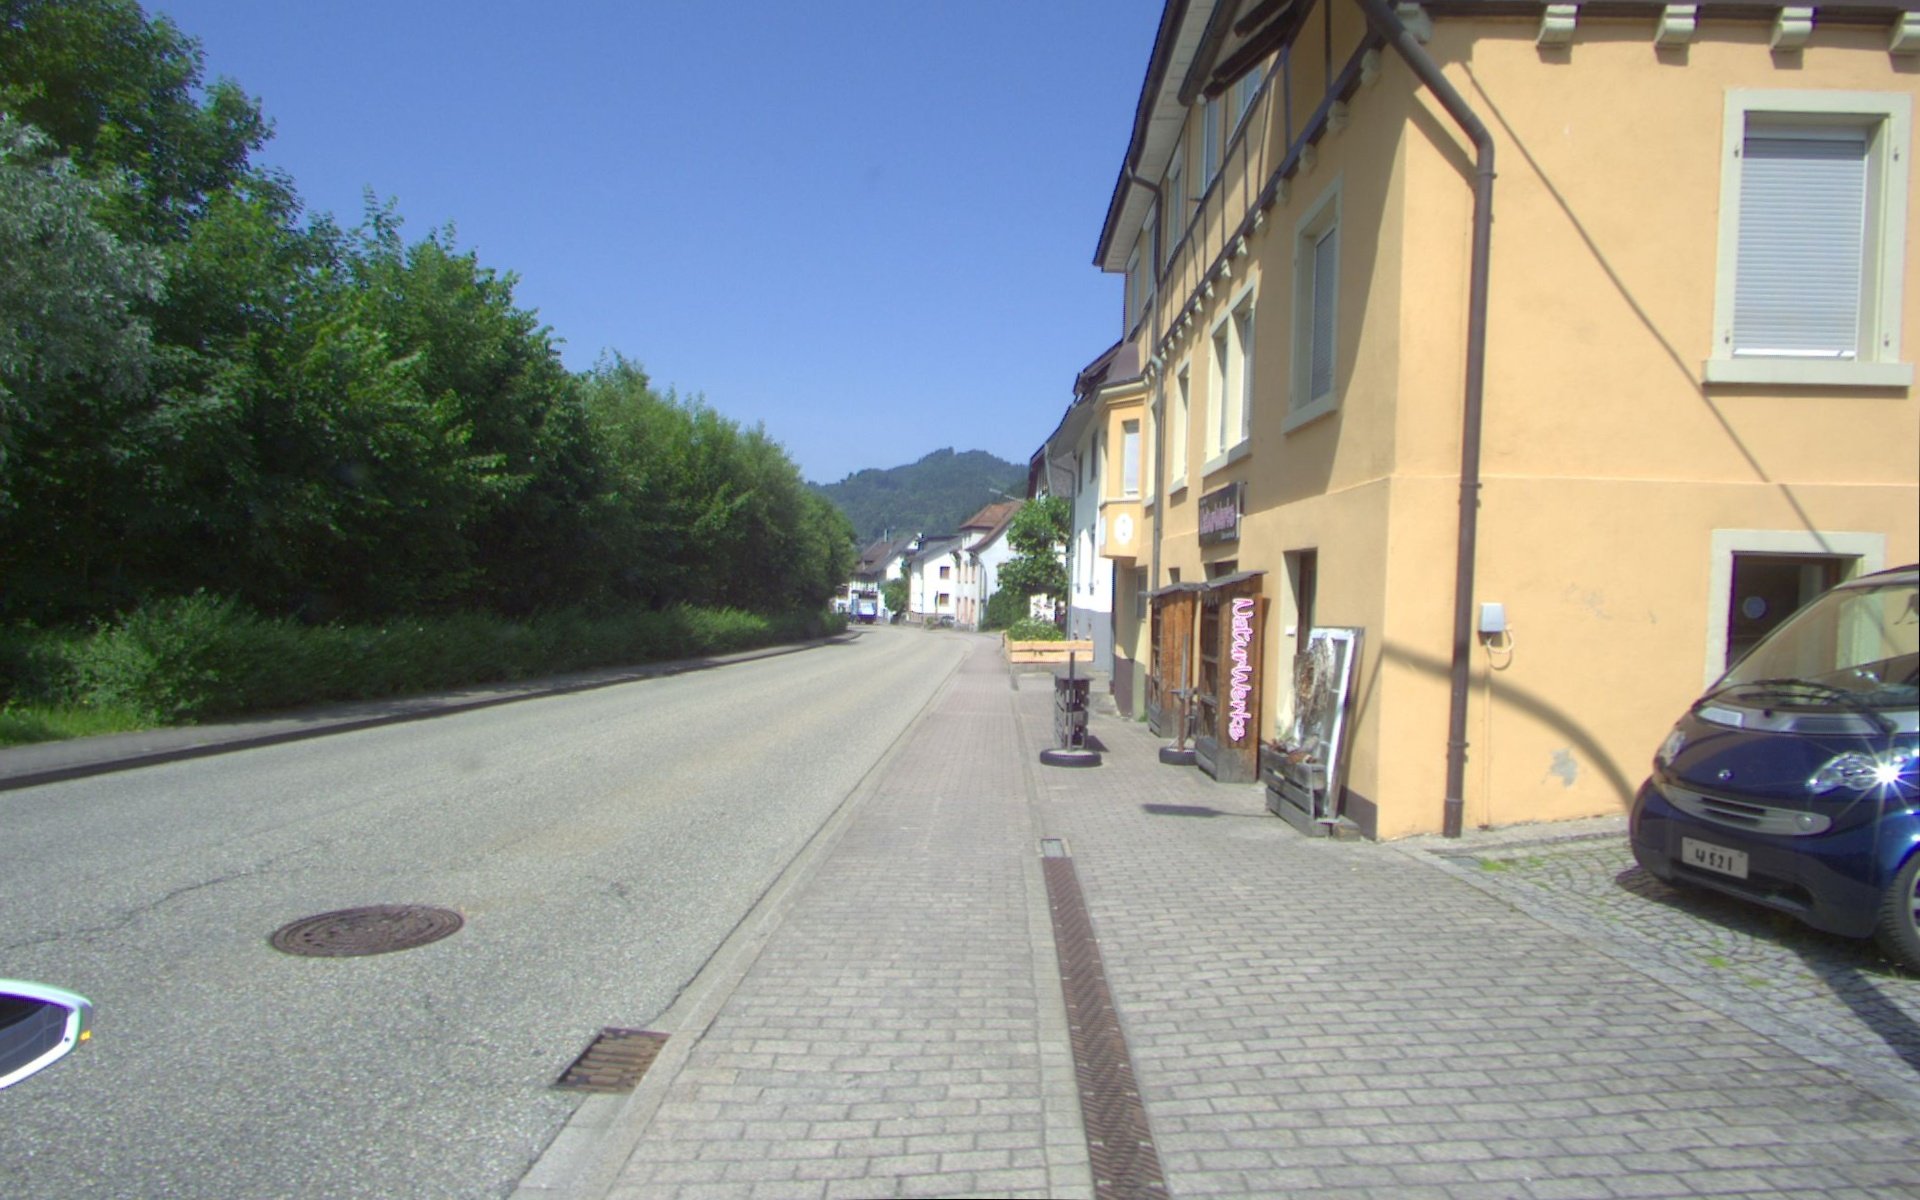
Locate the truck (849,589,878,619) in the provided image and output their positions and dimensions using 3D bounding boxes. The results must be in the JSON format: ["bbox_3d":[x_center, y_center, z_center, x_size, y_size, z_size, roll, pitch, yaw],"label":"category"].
[{"bbox_3d":[-13.398,0.650,138.642,3.310,3.830,8.438,-2,-1,-9],"label":"truck"}]

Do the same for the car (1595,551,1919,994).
[{"bbox_3d":[4.529,0.545,4.299,2.610,1.556,1.426,-4,-1,-2],"label":"car"}]

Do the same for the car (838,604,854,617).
[{"bbox_3d":[-18.029,1.629,158.235,1.963,1.906,3.997,-2,-1,-13],"label":"car"}]
